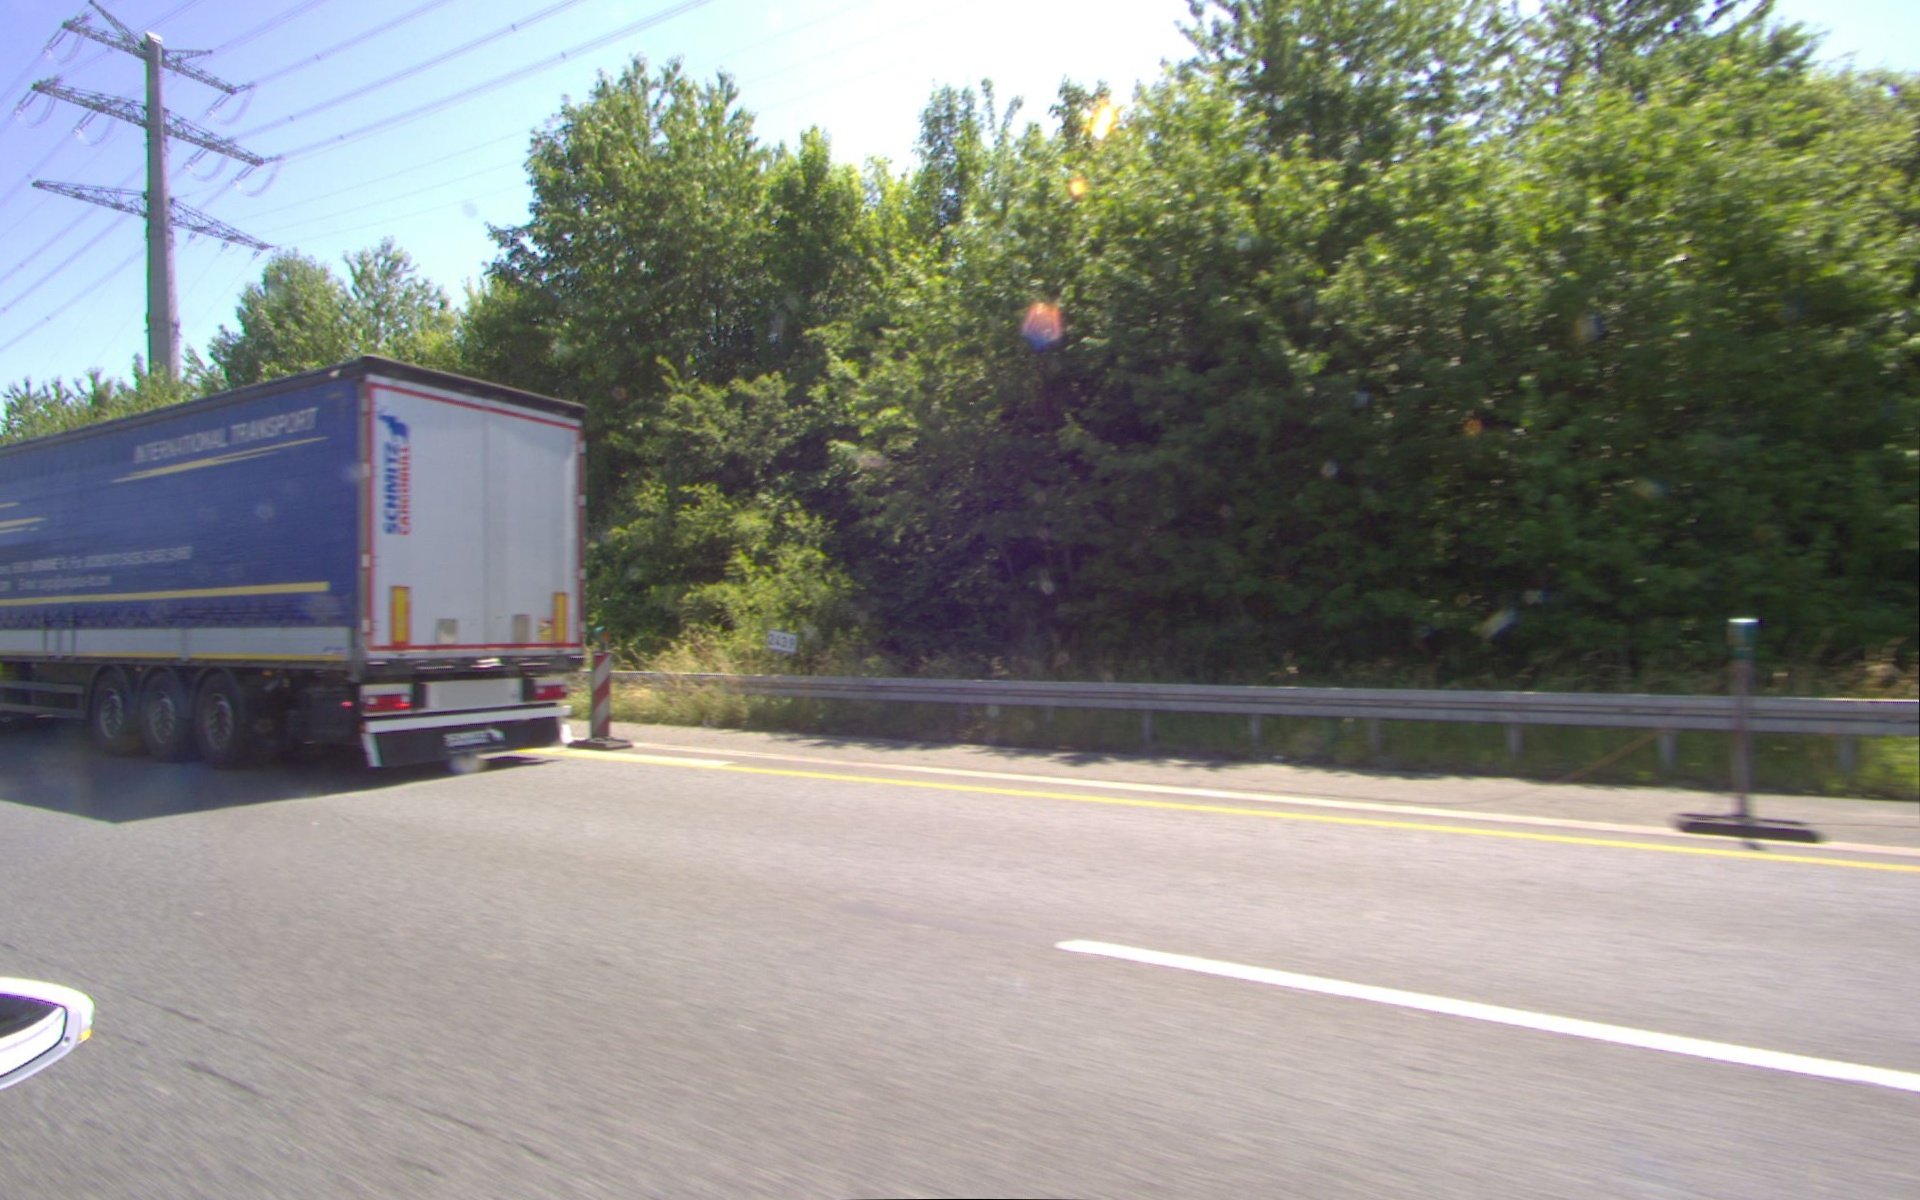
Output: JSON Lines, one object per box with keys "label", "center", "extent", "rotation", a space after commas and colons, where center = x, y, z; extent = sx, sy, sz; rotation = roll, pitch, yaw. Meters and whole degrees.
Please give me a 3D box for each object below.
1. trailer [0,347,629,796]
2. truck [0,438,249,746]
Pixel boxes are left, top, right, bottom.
{"label": "trailer", "center": [-9.552, -0.141, 13.287], "extent": [11.315, 4.095, 3.062], "rotation": [-1, -1, 30]}
{"label": "truck", "center": [-15.499, -0.021, 16.710], "extent": [7.679, 4.140, 3.021], "rotation": [-1, -1, 30]}
